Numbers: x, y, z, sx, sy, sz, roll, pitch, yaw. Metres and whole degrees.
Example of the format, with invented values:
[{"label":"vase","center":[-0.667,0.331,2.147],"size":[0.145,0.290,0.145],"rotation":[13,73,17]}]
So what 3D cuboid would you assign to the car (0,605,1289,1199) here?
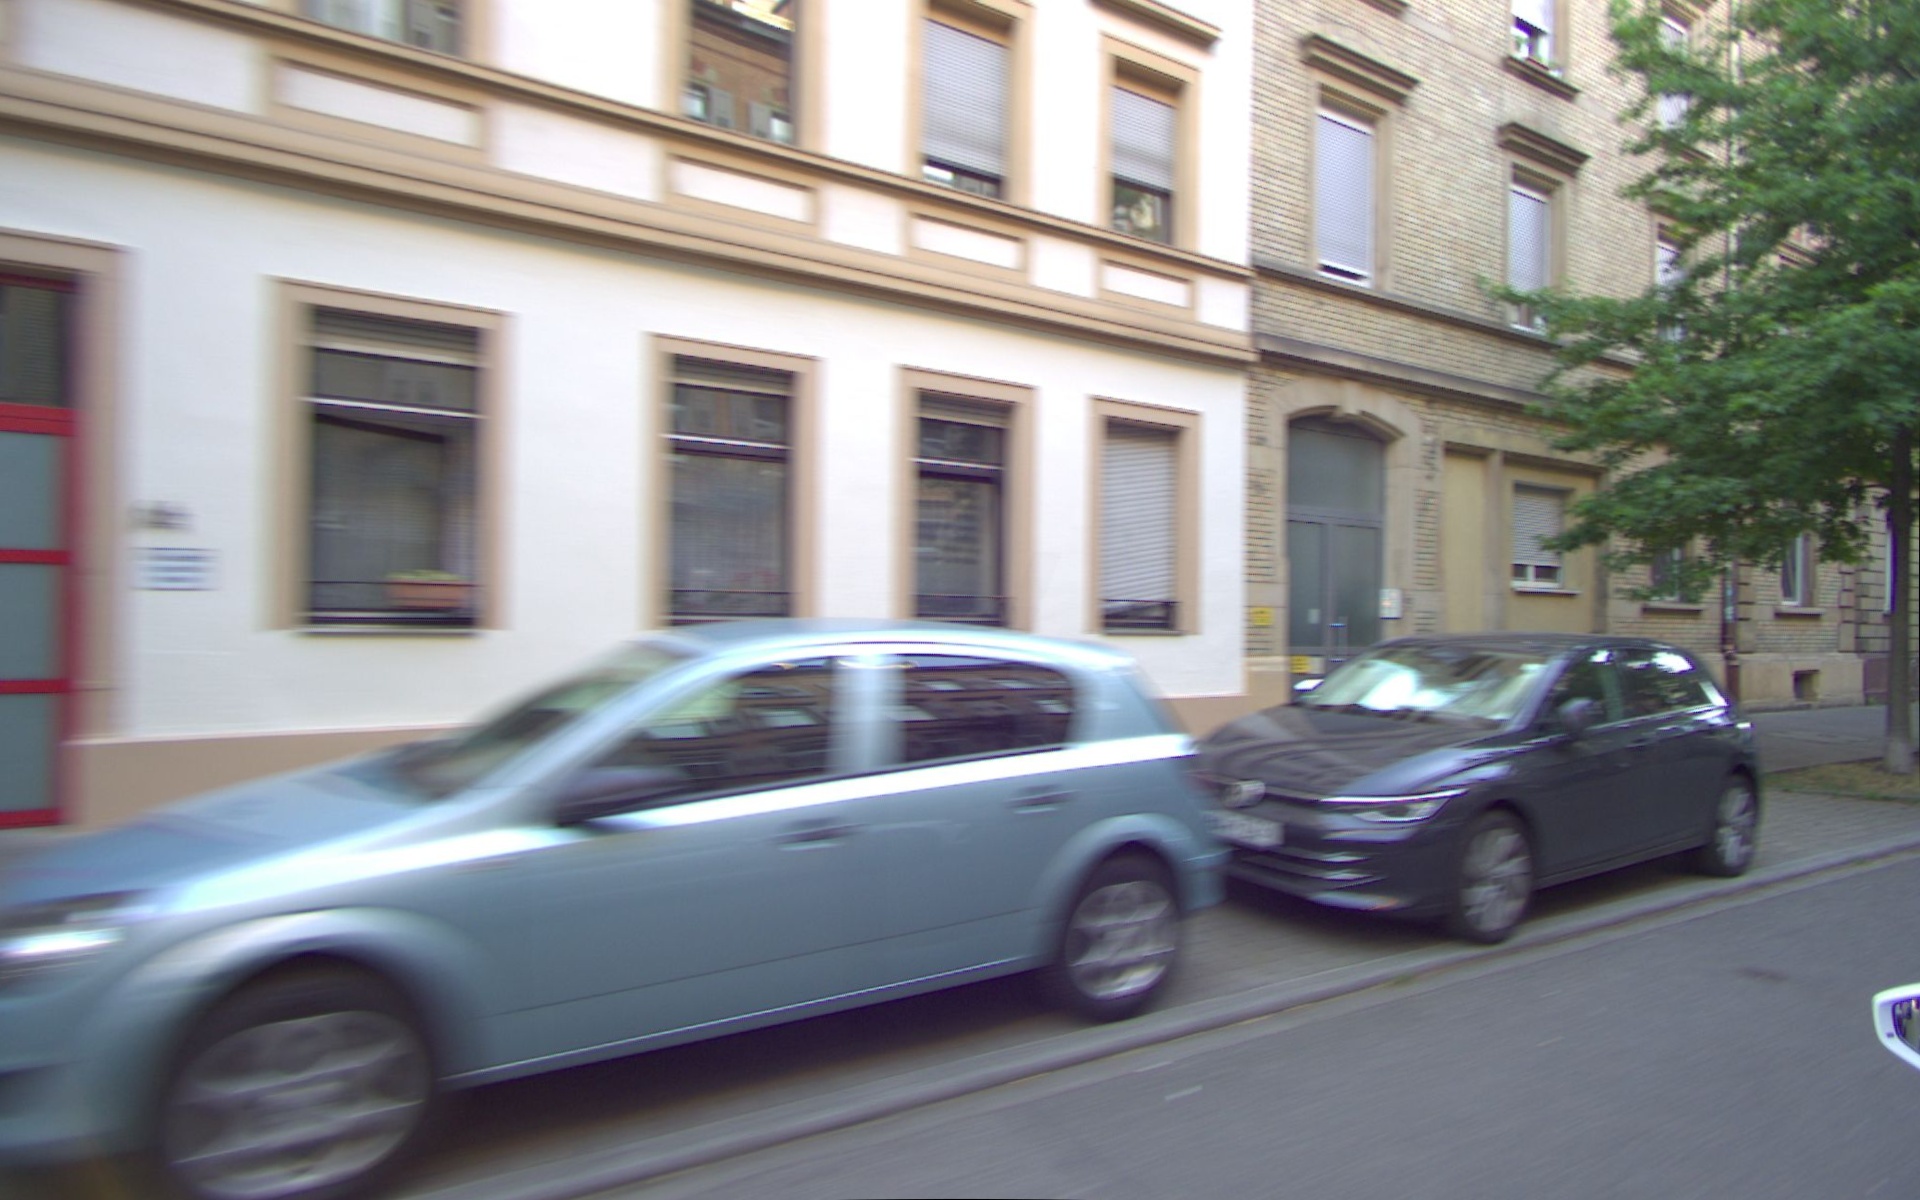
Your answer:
[{"label":"car","center":[-0.825,0.814,3.779],"size":[4.066,1.530,1.676],"rotation":[1,-1,-31]}]

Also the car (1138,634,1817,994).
[{"label":"car","center":[3.256,0.961,6.093],"size":[4.210,1.482,1.758],"rotation":[1,-1,-32]}]
